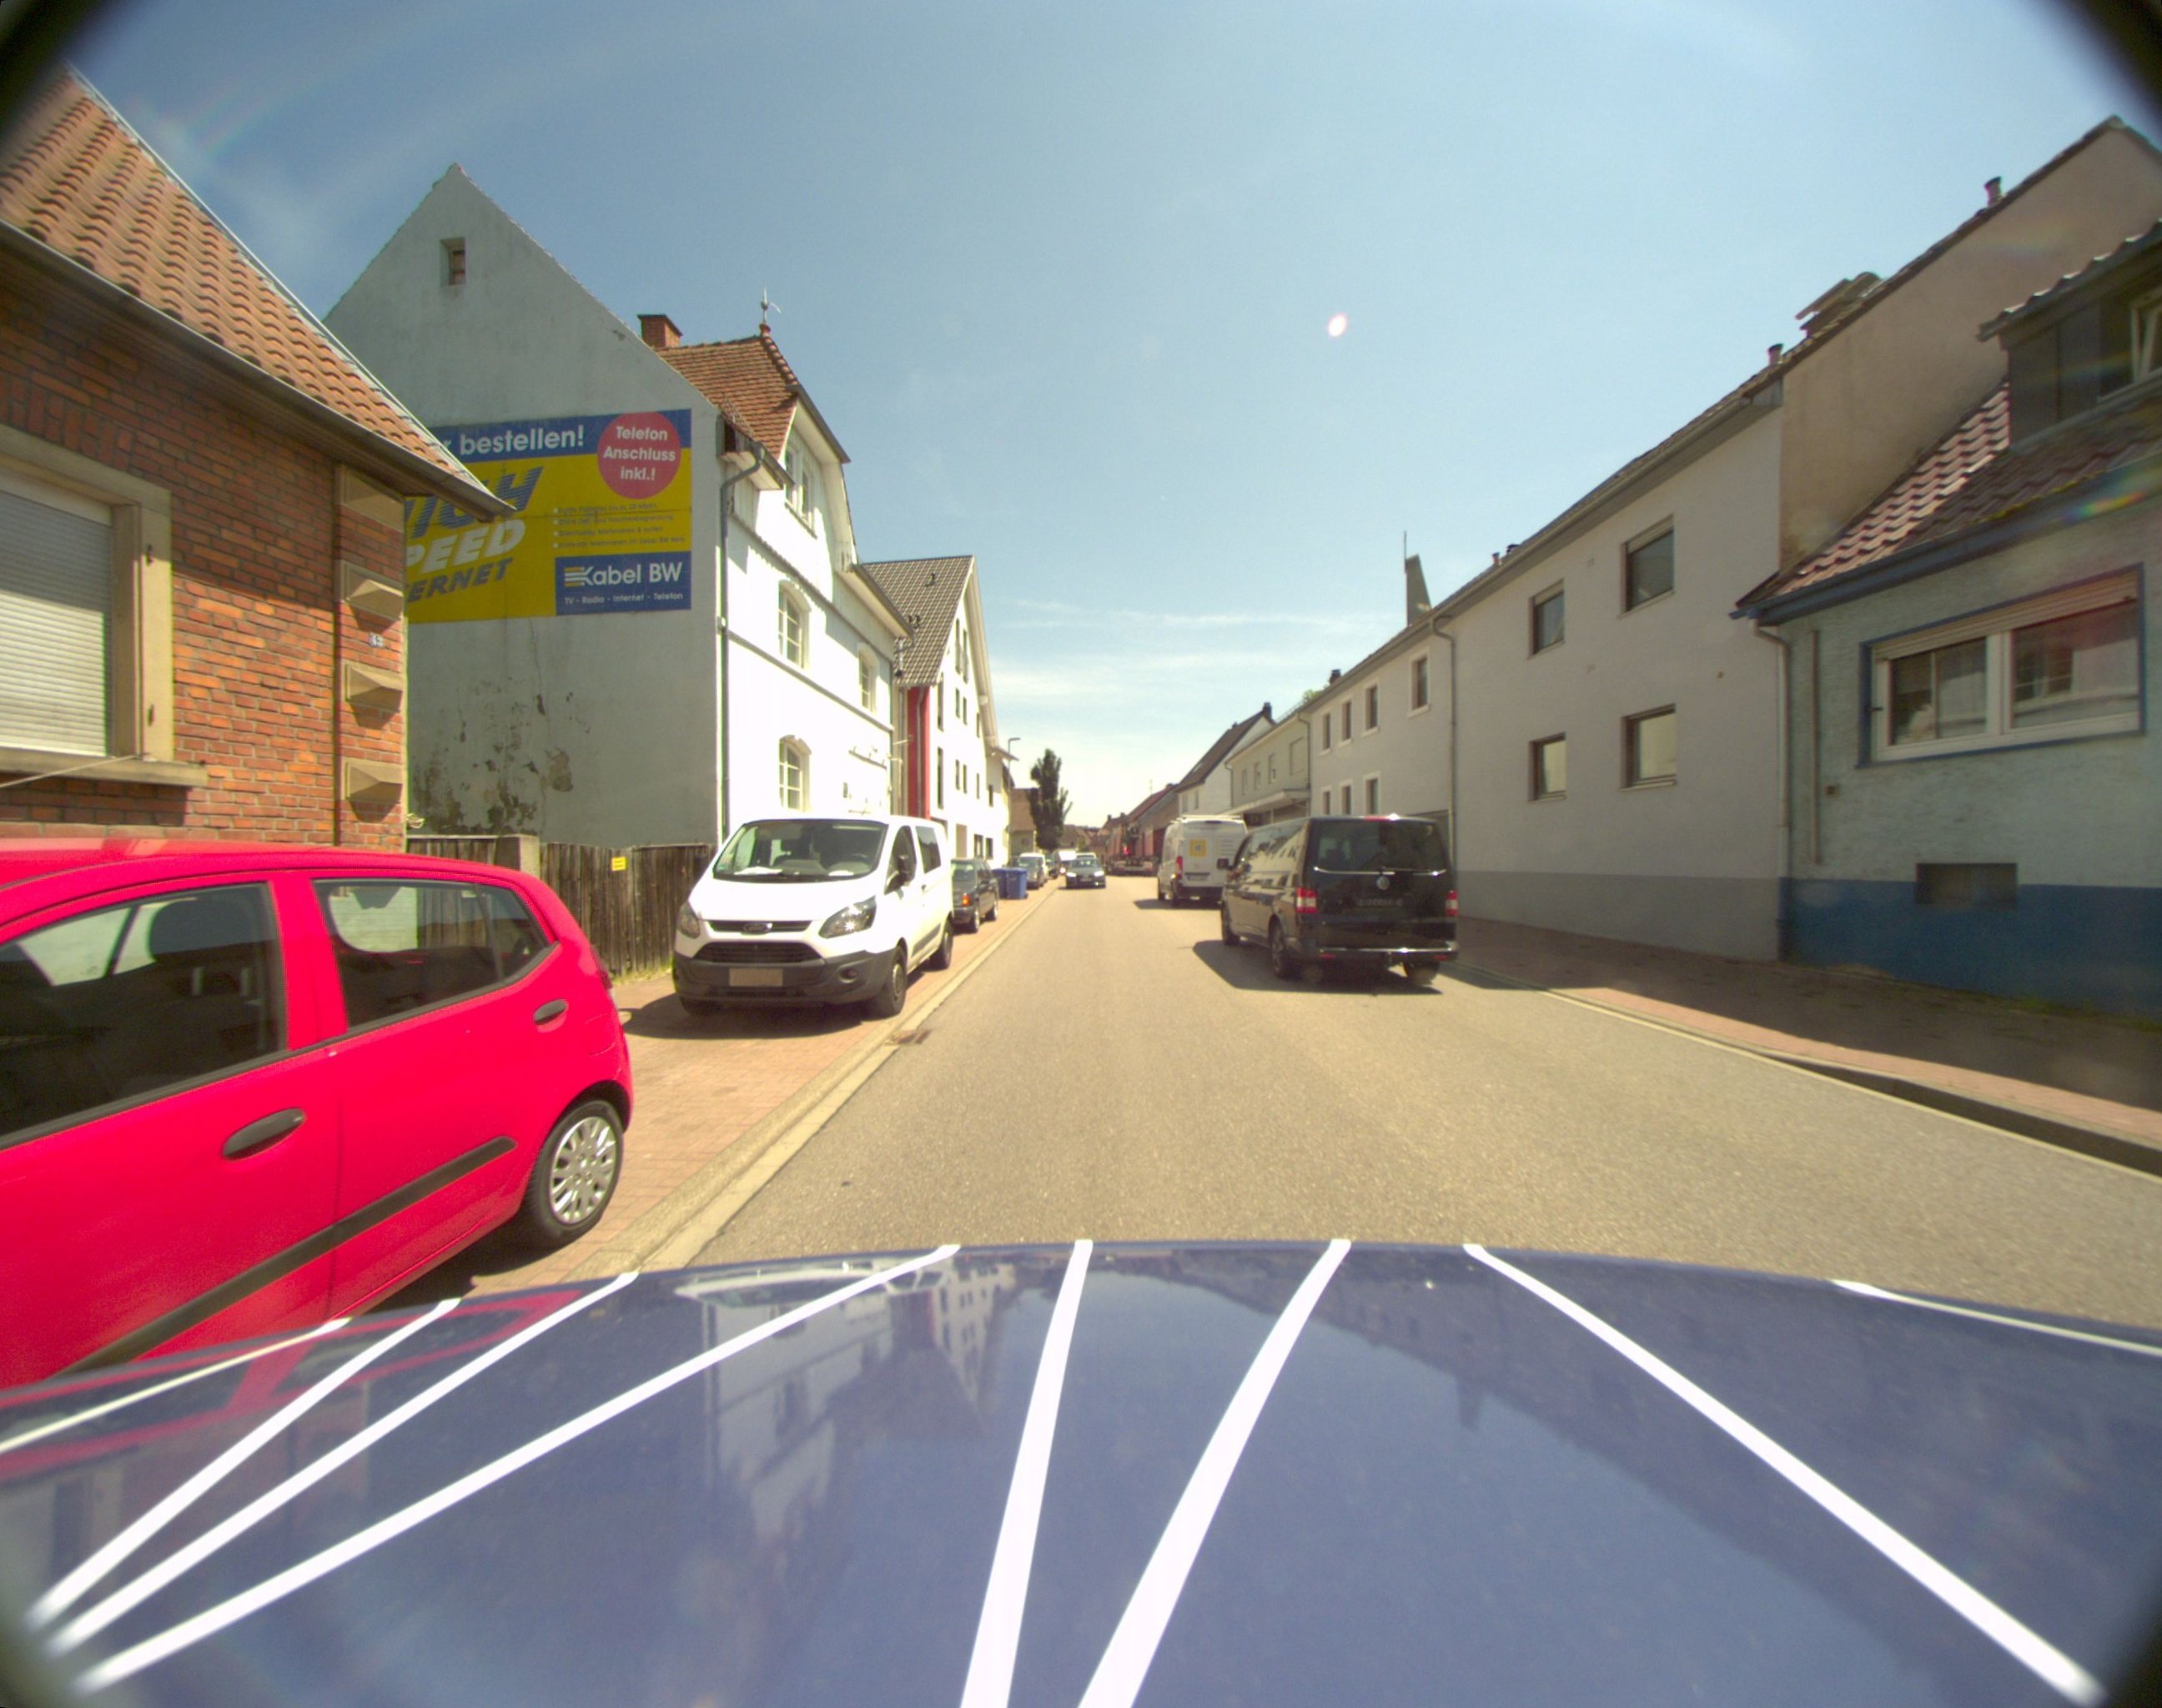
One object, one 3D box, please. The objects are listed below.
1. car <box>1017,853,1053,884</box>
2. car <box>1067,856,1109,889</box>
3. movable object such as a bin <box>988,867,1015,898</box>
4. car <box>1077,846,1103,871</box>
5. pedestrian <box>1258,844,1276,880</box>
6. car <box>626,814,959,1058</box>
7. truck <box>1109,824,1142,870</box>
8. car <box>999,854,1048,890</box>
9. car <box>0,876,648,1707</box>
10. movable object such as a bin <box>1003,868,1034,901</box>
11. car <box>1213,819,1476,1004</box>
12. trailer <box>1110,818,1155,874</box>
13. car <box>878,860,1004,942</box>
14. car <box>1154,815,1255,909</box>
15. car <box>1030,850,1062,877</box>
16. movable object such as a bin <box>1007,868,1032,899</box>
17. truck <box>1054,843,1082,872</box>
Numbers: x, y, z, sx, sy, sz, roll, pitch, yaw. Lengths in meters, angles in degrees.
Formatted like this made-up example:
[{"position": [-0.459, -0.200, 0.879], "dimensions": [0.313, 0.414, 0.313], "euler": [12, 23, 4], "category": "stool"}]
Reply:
[{"position": [-2.392, 0.715, 40.318], "dimensions": [1.611, 1.513, 3.544], "euler": [2, 0, 0], "category": "car"}, {"position": [0.305, 0.816, 34.918], "dimensions": [1.786, 1.364, 3.607], "euler": [-1, 0, 0], "category": "car"}, {"position": [-2.796, 1.003, 26.825], "dimensions": [0.655, 1.054, 0.836], "euler": [1, 1, 17], "category": "movable object such as a bin"}, {"position": [0.700, 0.360, 63.621], "dimensions": [2.079, 1.949, 5.518], "euler": [-1, 0, 0], "category": "car"}, {"position": [8.883, 0.379, 36.323], "dimensions": [0.626, 1.675, 0.771], "euler": [-1, 1, 0], "category": "pedestrian"}, {"position": [-2.692, 0.652, 8.493], "dimensions": [1.951, 1.959, 4.784], "euler": [0, 0, -1], "category": "car"}, {"position": [4.023, -0.652, 69.615], "dimensions": [2.625, 3.962, 6.852], "euler": [1, 1, 0], "category": "truck"}, {"position": [-2.521, 0.771, 34.406], "dimensions": [1.704, 1.438, 4.836], "euler": [2, 0, 1], "category": "car"}, {"position": [-2.760, 0.862, 1.572], "dimensions": [1.614, 1.519, 3.676], "euler": [0, 0, 0], "category": "car"}, {"position": [-2.117, 1.019, 25.976], "dimensions": [0.723, 1.067, 0.973], "euler": [1, 1, 17], "category": "movable object such as a bin"}, {"position": [3.205, 0.599, 10.532], "dimensions": [1.886, 1.932, 5.117], "euler": [0, 0, 0], "category": "car"}, {"position": [3.968, -0.593, 62.057], "dimensions": [2.637, 3.956, 15.697], "euler": [1, 0, 0], "category": "trailer"}, {"position": [-2.790, 0.872, 16.152], "dimensions": [1.774, 1.457, 4.577], "euler": [0, 0, 1], "category": "car"}, {"position": [3.592, 0.213, 23.268], "dimensions": [2.130, 2.527, 5.461], "euler": [0, 0, -1], "category": "car"}, {"position": [-2.208, 0.601, 48.775], "dimensions": [1.807, 1.604, 4.548], "euler": [1, -1, 0], "category": "car"}, {"position": [-2.144, 1.031, 26.684], "dimensions": [0.656, 1.029, 0.685], "euler": [1, 1, 17], "category": "movable object such as a bin"}, {"position": [-1.718, 0.474, 96.754], "dimensions": [2.869, 3.491, 8.314], "euler": [0, 0, -6], "category": "truck"}]
